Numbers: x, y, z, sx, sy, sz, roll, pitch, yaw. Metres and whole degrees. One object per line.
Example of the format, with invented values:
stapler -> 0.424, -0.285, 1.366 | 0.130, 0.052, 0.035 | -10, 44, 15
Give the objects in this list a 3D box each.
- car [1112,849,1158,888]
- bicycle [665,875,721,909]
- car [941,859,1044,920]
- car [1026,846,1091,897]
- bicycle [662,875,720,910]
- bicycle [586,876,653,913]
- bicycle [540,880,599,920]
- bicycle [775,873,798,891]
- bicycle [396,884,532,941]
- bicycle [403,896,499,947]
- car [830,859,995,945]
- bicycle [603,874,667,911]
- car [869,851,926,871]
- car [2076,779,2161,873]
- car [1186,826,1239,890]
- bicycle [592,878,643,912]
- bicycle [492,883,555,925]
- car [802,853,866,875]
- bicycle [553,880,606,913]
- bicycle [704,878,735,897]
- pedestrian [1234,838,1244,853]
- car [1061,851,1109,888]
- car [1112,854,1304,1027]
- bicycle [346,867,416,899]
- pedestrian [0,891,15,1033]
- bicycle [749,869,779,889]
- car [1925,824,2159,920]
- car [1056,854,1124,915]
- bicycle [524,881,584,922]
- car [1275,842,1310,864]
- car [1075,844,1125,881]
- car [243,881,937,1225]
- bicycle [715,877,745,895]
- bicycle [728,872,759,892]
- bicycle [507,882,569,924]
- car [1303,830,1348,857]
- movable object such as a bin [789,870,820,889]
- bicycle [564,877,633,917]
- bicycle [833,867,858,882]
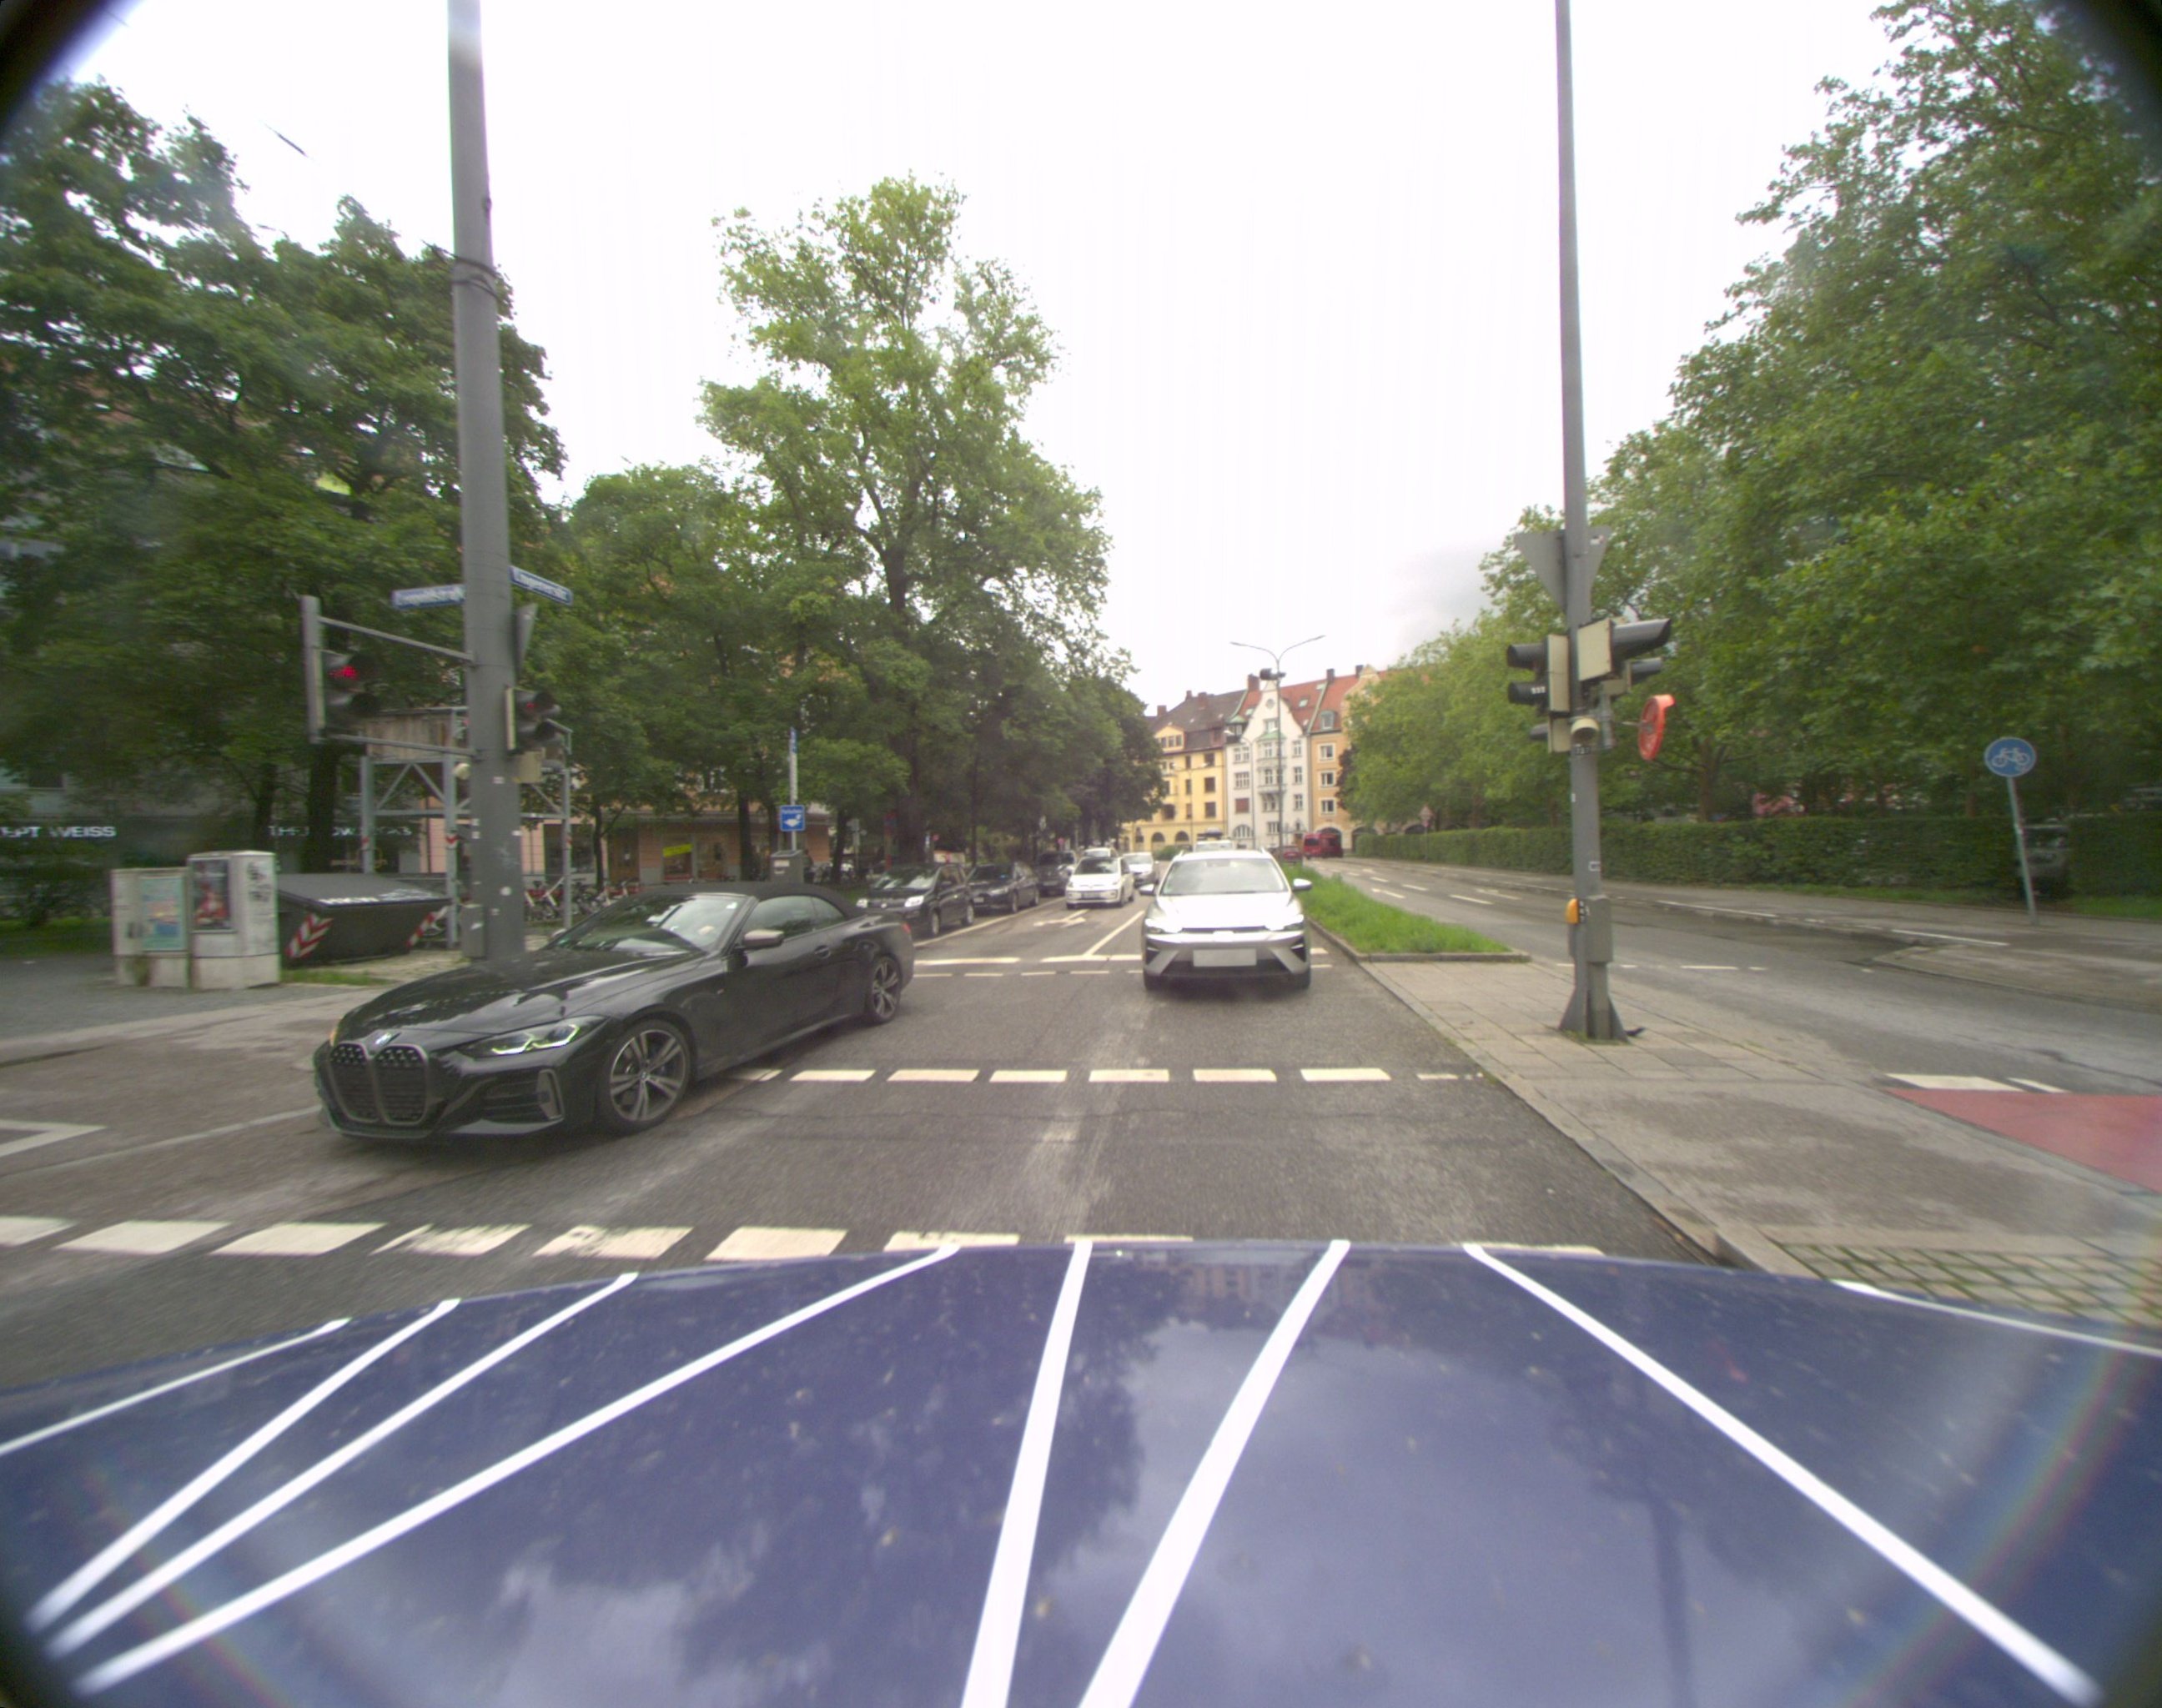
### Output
car -> 2.421, 0.600, 33.318 | 1.647, 1.521, 3.889 | -1, 1, 10
bicycle -> -11.540, 1.116, 22.604 | 1.414, 0.889, 0.312 | -4, 2, -27
car -> -2.417, 0.942, 22.059 | 1.771, 1.452, 4.644 | -1, 1, 9
car -> -0.791, 0.608, 30.045 | 1.935, 1.809, 4.556 | -1, 1, 6
bicycle -> -11.280, 1.113, 22.005 | 1.414, 0.889, 0.312 | -4, 2, -27
bicycle -> -11.960, 1.049, 19.724 | 1.413, 0.889, 0.313 | -2, 1, -16
bicycle -> -12.218, 1.093, 18.141 | 1.410, 0.889, 0.313 | -3, 2, 17
bicycle -> -12.449, 1.192, 32.105 | 1.175, 0.719, 0.319 | -2, 2, 37
bicycle -> -12.785, 1.206, 15.786 | 2.238, 1.010, 0.630 | -3, 2, 0
bicycle -> -12.567, 1.322, 15.187 | 0.312, 0.888, 1.415 | -2, 0, 36
car -> -3.513, 0.947, 16.835 | 1.833, 1.540, 4.558 | -1, 1, 12
bicycle -> -12.096, 1.039, 20.637 | 1.414, 0.889, 0.312 | -4, 2, -27
car -> -15.823, 0.597, 65.522 | 4.433, 1.458, 1.863 | -3, 1, 20
car -> 31.883, -0.916, 20.696 | 5.853, 2.521, 2.001 | -3, 1, 13
car -> 5.357, 0.114, 30.757 | 1.911, 2.337, 4.948 | -1, 1, 11
bicycle -> -13.757, 1.205, 22.588 | 0.312, 0.889, 1.414 | -3, 1, 16
bicycle -> -12.550, 1.131, 17.099 | 1.410, 0.889, 0.313 | -3, 2, 17
car -> -19.202, 0.784, 59.007 | 4.433, 1.458, 1.863 | -3, 1, 20
bicycle -> -15.227, 1.276, 23.093 | 0.312, 0.889, 1.414 | -3, 1, 16
bicycle -> -14.409, 1.333, 30.307 | 1.176, 0.719, 0.319 | -3, 2, 19
pedestrian -> 22.059, -1.147, 106.317 | 1.005, 2.002, 0.880 | -2, 2, 42
car -> 0.231, 0.686, 35.275 | 1.522, 1.540, 3.664 | -1, 1, 11
car -> 1.769, 0.842, 9.354 | 1.773, 1.515, 4.212 | -2, 1, 16
bicycle -> -31.960, 1.322, 34.719 | 2.253, 1.282, 0.505 | -4, 2, -43
pedestrian -> -11.059, 1.073, 7.362 | 0.720, 1.396, 0.545 | 1, 2, 9
bicycle -> -12.760, 1.010, 30.622 | 0.318, 0.719, 1.180 | -3, 1, 21
car -> 20.581, 0.339, 16.325 | 3.524, 1.753, 1.775 | -3, 1, -13
car -> 0.362, 0.832, 22.616 | 1.774, 1.515, 4.209 | -3, 1, 3
bicycle -> -12.345, 1.106, 17.791 | 1.410, 0.889, 0.313 | -3, 2, 17
car -> 16.647, -0.038, 59.992 | 2.107, 1.628, 4.943 | -1, 0, 10
car -> 1.109, 0.420, 41.158 | 1.847, 1.845, 5.027 | -1, 1, 11
car -> -2.952, 1.041, 6.101 | 1.726, 1.381, 4.802 | -1, 1, 13
bicycle -> -14.436, 1.317, 31.249 | 1.176, 0.719, 0.319 | -3, 2, 19
bicycle -> -13.267, 1.104, 29.893 | 1.176, 0.719, 0.319 | -3, 2, 19
bicycle -> -12.441, 1.119, 17.419 | 1.410, 0.889, 0.313 | -3, 2, 17
car -> 24.534, -0.990, 76.042 | 2.104, 2.574, 6.094 | 0, 0, 40
movable object such as a bin -> -13.561, 1.240, 37.331 | 1.179, 0.867, 0.775 | -1, 1, 18
bicycle -> -11.892, 1.063, 18.753 | 1.412, 0.889, 0.313 | -3, 2, -4
bicycle -> -12.310, 1.070, 39.771 | 1.180, 0.719, 0.318 | -4, 2, -36
